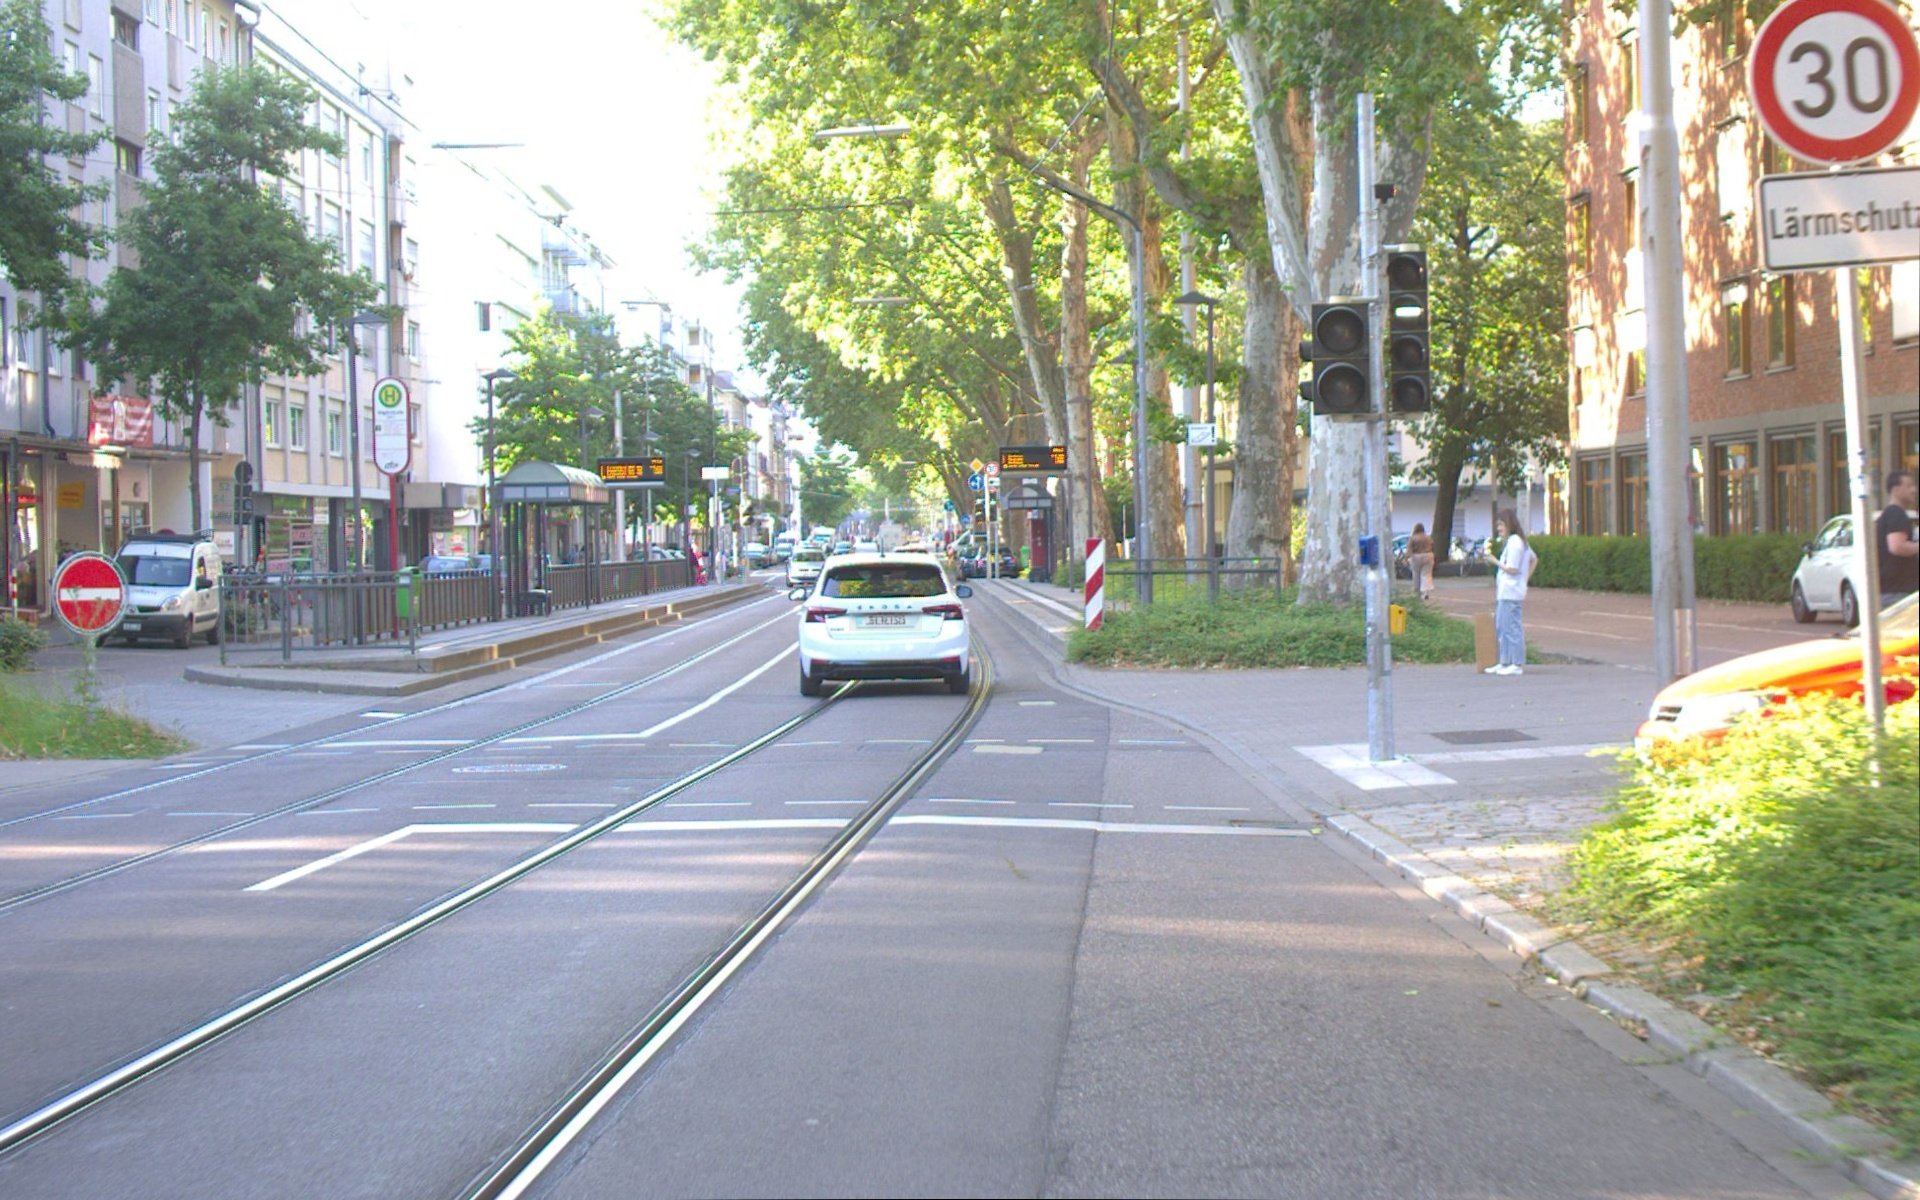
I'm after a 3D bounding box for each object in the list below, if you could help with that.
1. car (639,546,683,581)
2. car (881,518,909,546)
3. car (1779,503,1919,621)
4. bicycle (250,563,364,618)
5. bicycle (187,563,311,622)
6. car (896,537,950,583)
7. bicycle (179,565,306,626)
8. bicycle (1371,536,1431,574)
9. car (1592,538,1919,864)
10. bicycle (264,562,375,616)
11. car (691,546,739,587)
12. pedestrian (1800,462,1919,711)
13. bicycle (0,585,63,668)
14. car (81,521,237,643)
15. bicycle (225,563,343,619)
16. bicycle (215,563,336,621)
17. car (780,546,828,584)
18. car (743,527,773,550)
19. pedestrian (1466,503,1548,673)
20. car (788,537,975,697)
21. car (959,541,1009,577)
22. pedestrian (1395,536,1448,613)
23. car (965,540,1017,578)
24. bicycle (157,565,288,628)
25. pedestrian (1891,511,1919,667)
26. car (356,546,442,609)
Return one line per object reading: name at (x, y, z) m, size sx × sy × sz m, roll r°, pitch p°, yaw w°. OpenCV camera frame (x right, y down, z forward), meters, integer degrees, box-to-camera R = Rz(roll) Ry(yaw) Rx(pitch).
car at (-13.601, -1.667, 156.451) m, size 1.678 × 1.543 × 4.000 m, roll 1°, pitch 1°, yaw -1°
car at (-4.452, -4.643, 234.813) m, size 1.866 × 1.886 × 4.000 m, roll -1°, pitch 1°, yaw -1°
car at (12.189, -0.524, 45.791) m, size 1.600 × 1.490 × 3.417 m, roll -1°, pitch 1°, yaw -2°
bicycle at (-13.778, -0.208, 72.561) m, size 2.253 × 1.070 × 0.636 m, roll 2°, pitch 1°, yaw 1°
bicycle at (-13.889, -0.152, 67.189) m, size 2.253 × 1.070 × 0.636 m, roll 2°, pitch 1°, yaw 1°
car at (-1.268, -1.380, 118.482) m, size 1.788 × 1.508 × 4.000 m, roll -1°, pitch 1°, yaw -1°
bicycle at (-13.621, -0.087, 65.287) m, size 2.253 × 1.070 × 0.636 m, roll 2°, pitch 1°, yaw 1°
bicycle at (12.424, -1.261, 96.845) m, size 1.567 × 1.034 × 0.504 m, roll -1°, pitch 1°, yaw 21°
car at (5.067, 0.410, 16.200) m, size 3.885 × 1.418 × 1.648 m, roll -2°, pitch 1°, yaw 3°
bicycle at (-13.852, -0.240, 74.402) m, size 2.253 × 1.070 × 0.636 m, roll 2°, pitch 1°, yaw 1°
car at (-9.733, -1.353, 136.666) m, size 1.678 × 1.543 × 4.000 m, roll 1°, pitch 1°, yaw -1°
pedestrian at (6.916, -0.113, 25.625) m, size 0.994 × 1.805 × 0.864 m, roll -2°, pitch 1°, yaw -6°
bicycle at (-13.017, 0.345, 46.497) m, size 1.533 × 1.071 × 0.885 m, roll 2°, pitch 1°, yaw -1°
car at (-13.410, -0.331, 57.760) m, size 1.688 × 1.933 × 4.000 m, roll -1°, pitch 1°, yaw -1°
bicycle at (-13.903, -0.191, 70.729) m, size 2.253 × 1.070 × 0.636 m, roll 2°, pitch 1°, yaw 1°
bicycle at (-13.730, -0.165, 68.983) m, size 2.253 × 1.070 × 0.636 m, roll 2°, pitch 1°, yaw 1°
car at (-6.027, -1.365, 133.099) m, size 1.693 × 1.414 × 4.000 m, roll -1°, pitch 1°, yaw -1°
car at (-13.672, -4.182, 232.679) m, size 1.788 × 1.508 × 4.000 m, roll -1°, pitch 1°, yaw -1°
pedestrian at (5.454, -0.123, 34.280) m, size 0.652 × 1.663 × 0.738 m, roll -1°, pitch 1°, yaw -1°
car at (-0.788, 0.127, 35.581) m, size 1.788 × 1.508 × 4.000 m, roll -1°, pitch 1°, yaw -1°
car at (0.984, -1.732, 143.961) m, size 1.993 × 1.448 × 4.000 m, roll -1°, pitch 1°, yaw -1°
pedestrian at (9.895, -0.548, 73.698) m, size 0.972 × 1.618 × 0.887 m, roll -1°, pitch 1°, yaw -1°
car at (1.229, -1.654, 138.876) m, size 1.993 × 1.448 × 4.000 m, roll -1°, pitch 1°, yaw -1°
bicycle at (-13.647, -0.072, 63.639) m, size 2.253 × 1.070 × 0.636 m, roll 2°, pitch 1°, yaw 1°
pedestrian at (10.531, -0.134, 37.031) m, size 0.735 × 1.663 × 0.835 m, roll -1°, pitch 1°, yaw -1°
car at (-14.375, -0.601, 88.270) m, size 1.593 × 1.543 × 4.000 m, roll 1°, pitch 1°, yaw -1°
